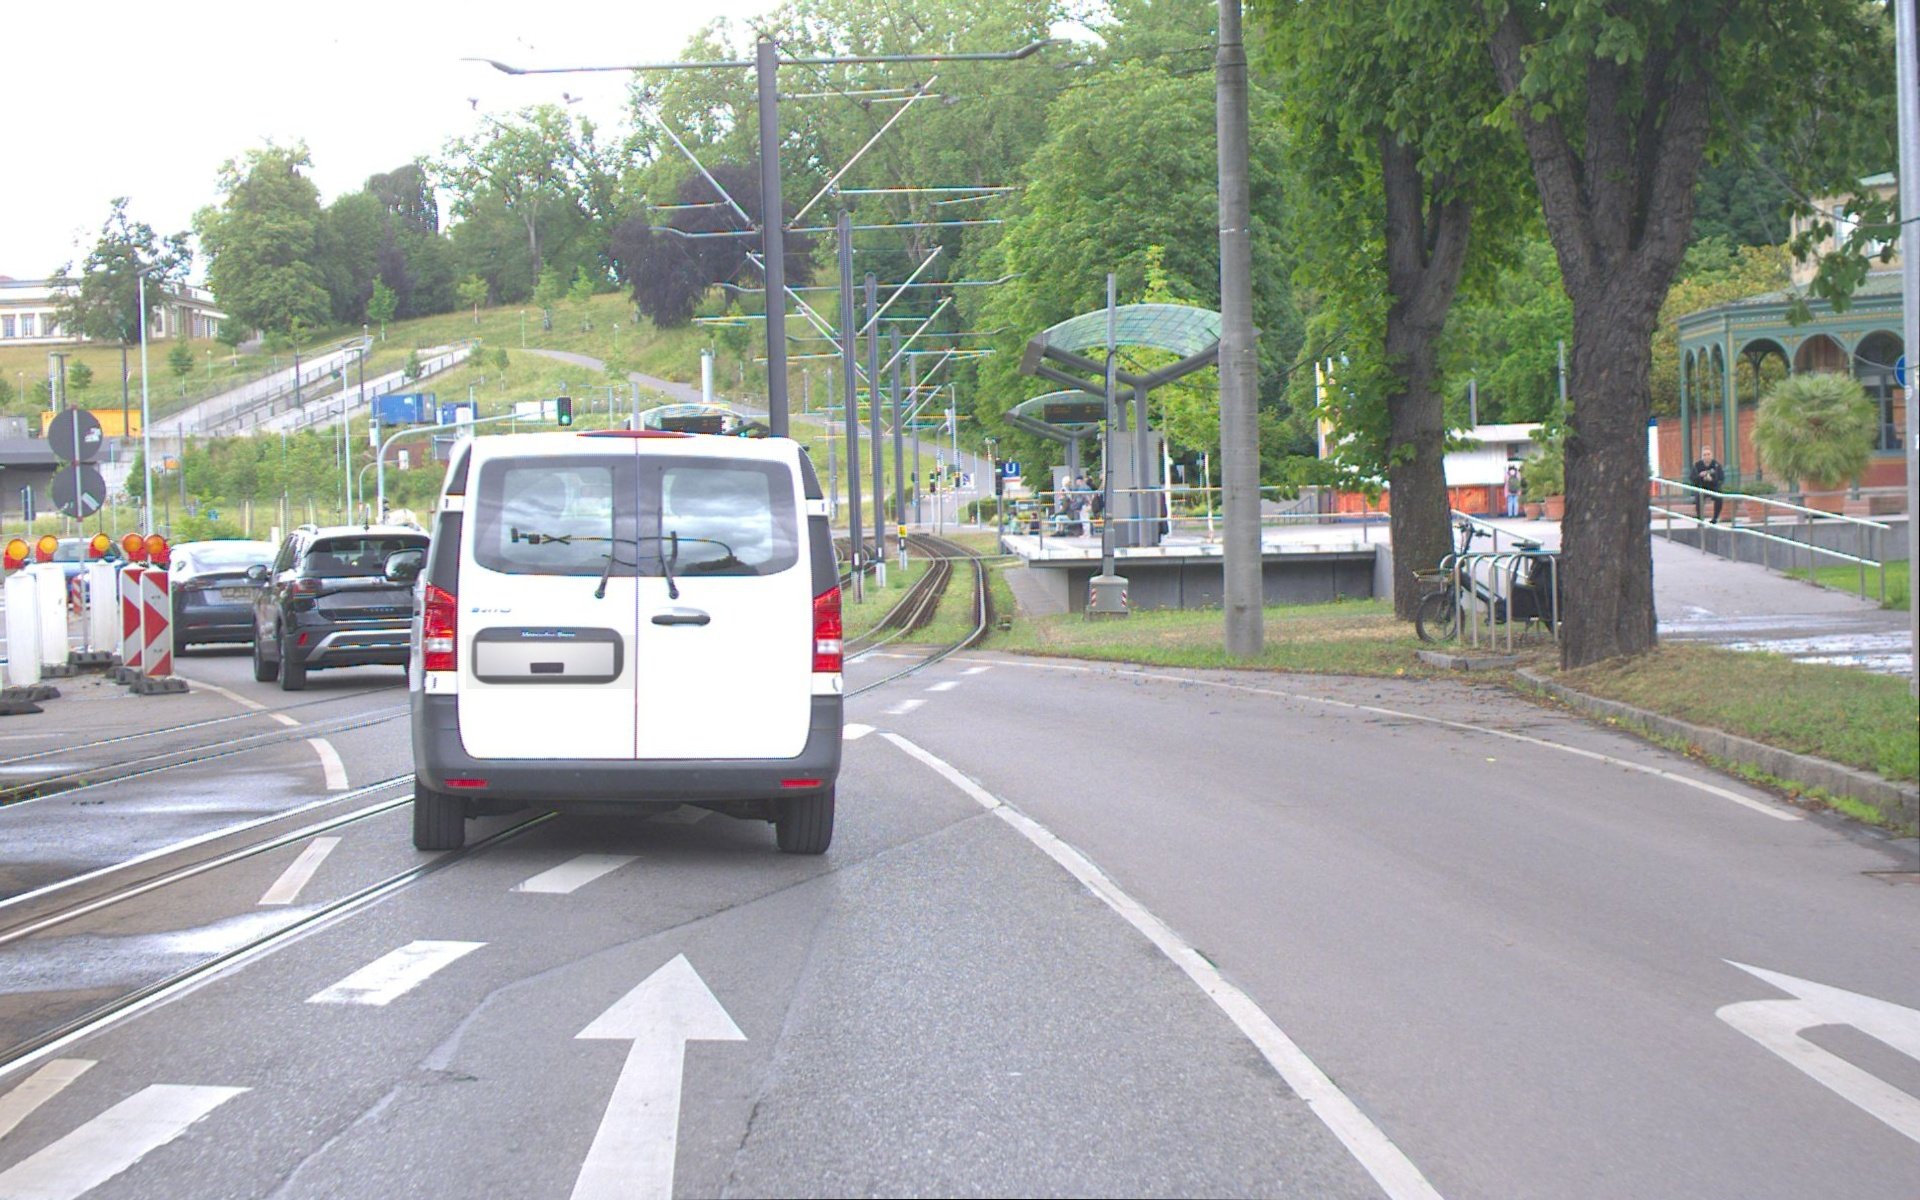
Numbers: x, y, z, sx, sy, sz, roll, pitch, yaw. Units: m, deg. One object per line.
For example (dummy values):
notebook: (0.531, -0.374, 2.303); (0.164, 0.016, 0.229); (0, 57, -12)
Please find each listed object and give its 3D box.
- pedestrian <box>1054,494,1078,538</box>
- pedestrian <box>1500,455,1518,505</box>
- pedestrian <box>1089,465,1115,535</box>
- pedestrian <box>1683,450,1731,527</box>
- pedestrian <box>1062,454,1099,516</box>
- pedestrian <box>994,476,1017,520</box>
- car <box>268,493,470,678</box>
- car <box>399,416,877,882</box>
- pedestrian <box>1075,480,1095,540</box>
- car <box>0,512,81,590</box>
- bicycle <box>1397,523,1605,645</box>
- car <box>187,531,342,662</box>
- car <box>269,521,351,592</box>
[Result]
pedestrian: (2.898, -2.291, 93.807); (0.657, 1.187, 0.676); (1, 1, 2)
pedestrian: (16.341, -3.572, 102.327); (0.485, 1.482, 0.460); (1, 1, 3)
pedestrian: (3.709, -2.604, 89.777); (0.632, 1.832, 0.950); (1, 1, 2)
pedestrian: (11.714, -1.749, 53.925); (0.548, 1.197, 0.669); (0, 1, -6)
pedestrian: (3.269, -3.118, 93.584); (0.860, 1.671, 0.762); (0, 1, -10)
pedestrian: (1.370, -3.074, 103.886); (0.673, 1.319, 0.968); (0, 1, -1)
car: (-5.795, -0.185, 34.077); (1.838, 1.723, 4.063); (0, 1, -8)
car: (-1.660, 0.146, 16.354); (1.958, 1.897, 4.463); (0, 1, -9)
pedestrian: (3.372, -2.426, 92.677); (0.524, 1.614, 0.676); (1, 1, 2)
car: (-19.264, -1.024, 70.859); (1.694, 1.456, 3.914); (-3, 3, -7)
bicycle: (5.434, -0.167, 34.636); (1.991, 1.154, 0.741); (-2, 1, 5)
car: (-8.892, -0.090, 43.883); (1.838, 1.577, 4.064); (0, 1, -12)
car: (-18.626, -1.262, 98.700); (1.934, 2.007, 4.001); (0, 1, -5)
